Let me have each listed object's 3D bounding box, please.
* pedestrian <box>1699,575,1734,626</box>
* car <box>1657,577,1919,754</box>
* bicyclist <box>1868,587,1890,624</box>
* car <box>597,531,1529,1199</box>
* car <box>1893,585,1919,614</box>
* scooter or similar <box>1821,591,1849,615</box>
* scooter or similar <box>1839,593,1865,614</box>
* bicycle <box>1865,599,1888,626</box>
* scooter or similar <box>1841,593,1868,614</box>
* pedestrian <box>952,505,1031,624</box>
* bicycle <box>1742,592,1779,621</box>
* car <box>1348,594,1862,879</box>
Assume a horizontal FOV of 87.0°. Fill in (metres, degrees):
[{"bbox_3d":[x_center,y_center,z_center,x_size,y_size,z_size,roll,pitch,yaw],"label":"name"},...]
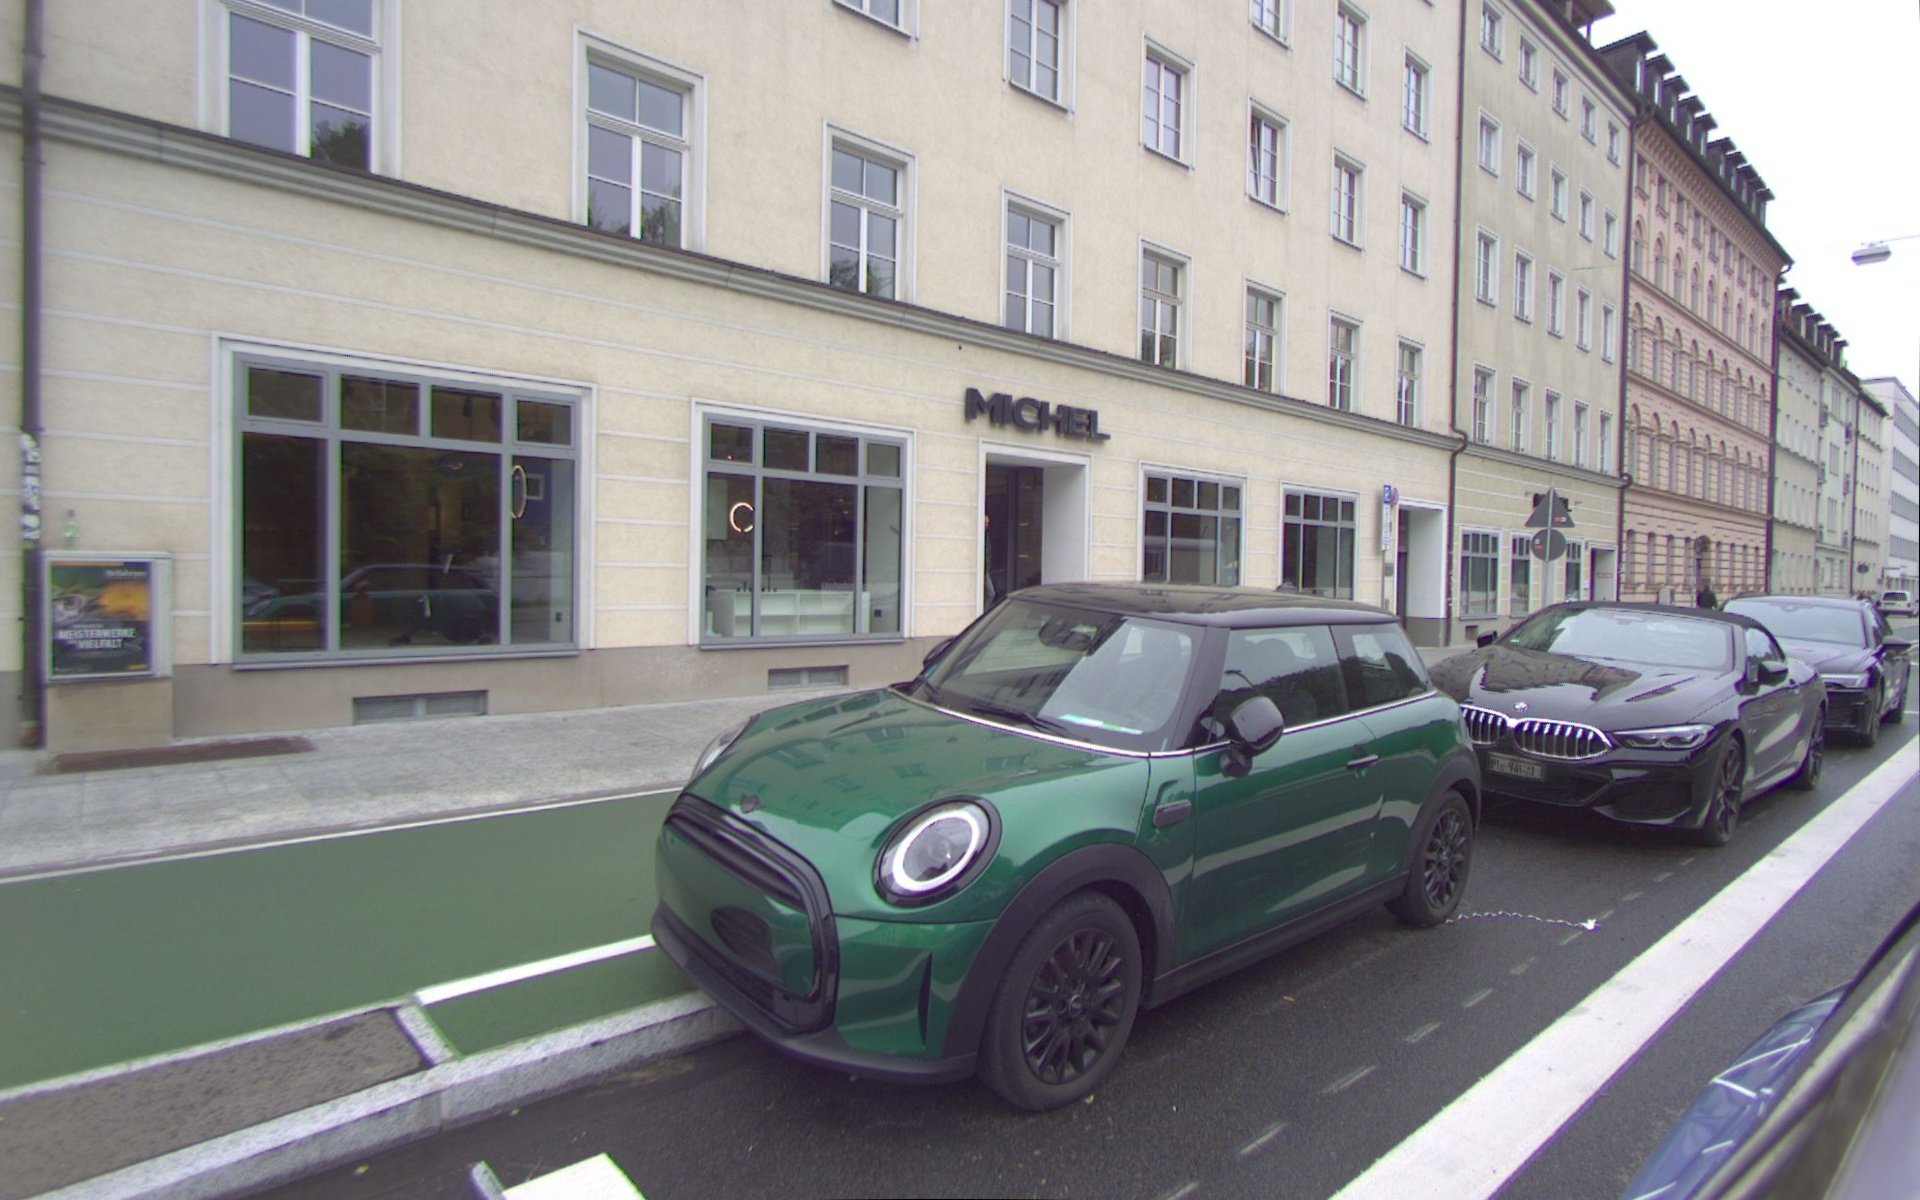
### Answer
[{"bbox_3d":[27.045,0.015,36.169,0.819,1.767,0.795,0,1,-40],"label":"pedestrian"},{"bbox_3d":[9.593,0.582,11.440,4.386,1.498,1.812,0,5,-43],"label":"car"},{"bbox_3d":[37.469,0.203,41.268,0.630,1.486,0.643,2,1,42],"label":"bicyclist"},{"bbox_3d":[0.681,0.601,4.157,3.761,1.540,1.678,0,0,-40],"label":"car"},{"bbox_3d":[65.075,-0.046,68.994,3.931,1.855,1.764,0,1,-42],"label":"car"},{"bbox_3d":[47.845,0.147,55.310,1.055,1.261,0.554,1,1,-6],"label":"scooter or similar"},{"bbox_3d":[52.349,0.201,59.382,1.059,1.207,0.436,1,1,10],"label":"scooter or similar"},{"bbox_3d":[37.402,0.482,41.307,0.630,1.050,1.987,2,2,42],"label":"bicycle"},{"bbox_3d":[51.541,0.200,58.307,1.063,1.207,0.451,2,1,20],"label":"scooter or similar"},{"bbox_3d":[0.467,-0.528,15.166,0.767,1.710,0.861,0,2,-39],"label":"pedestrian"},{"bbox_3d":[34.136,0.280,43.144,1.690,1.191,0.558,0,1,-27],"label":"bicycle"},{"bbox_3d":[4.846,0.674,7.290,4.636,1.425,1.829,0,0,-40],"label":"car"}]
